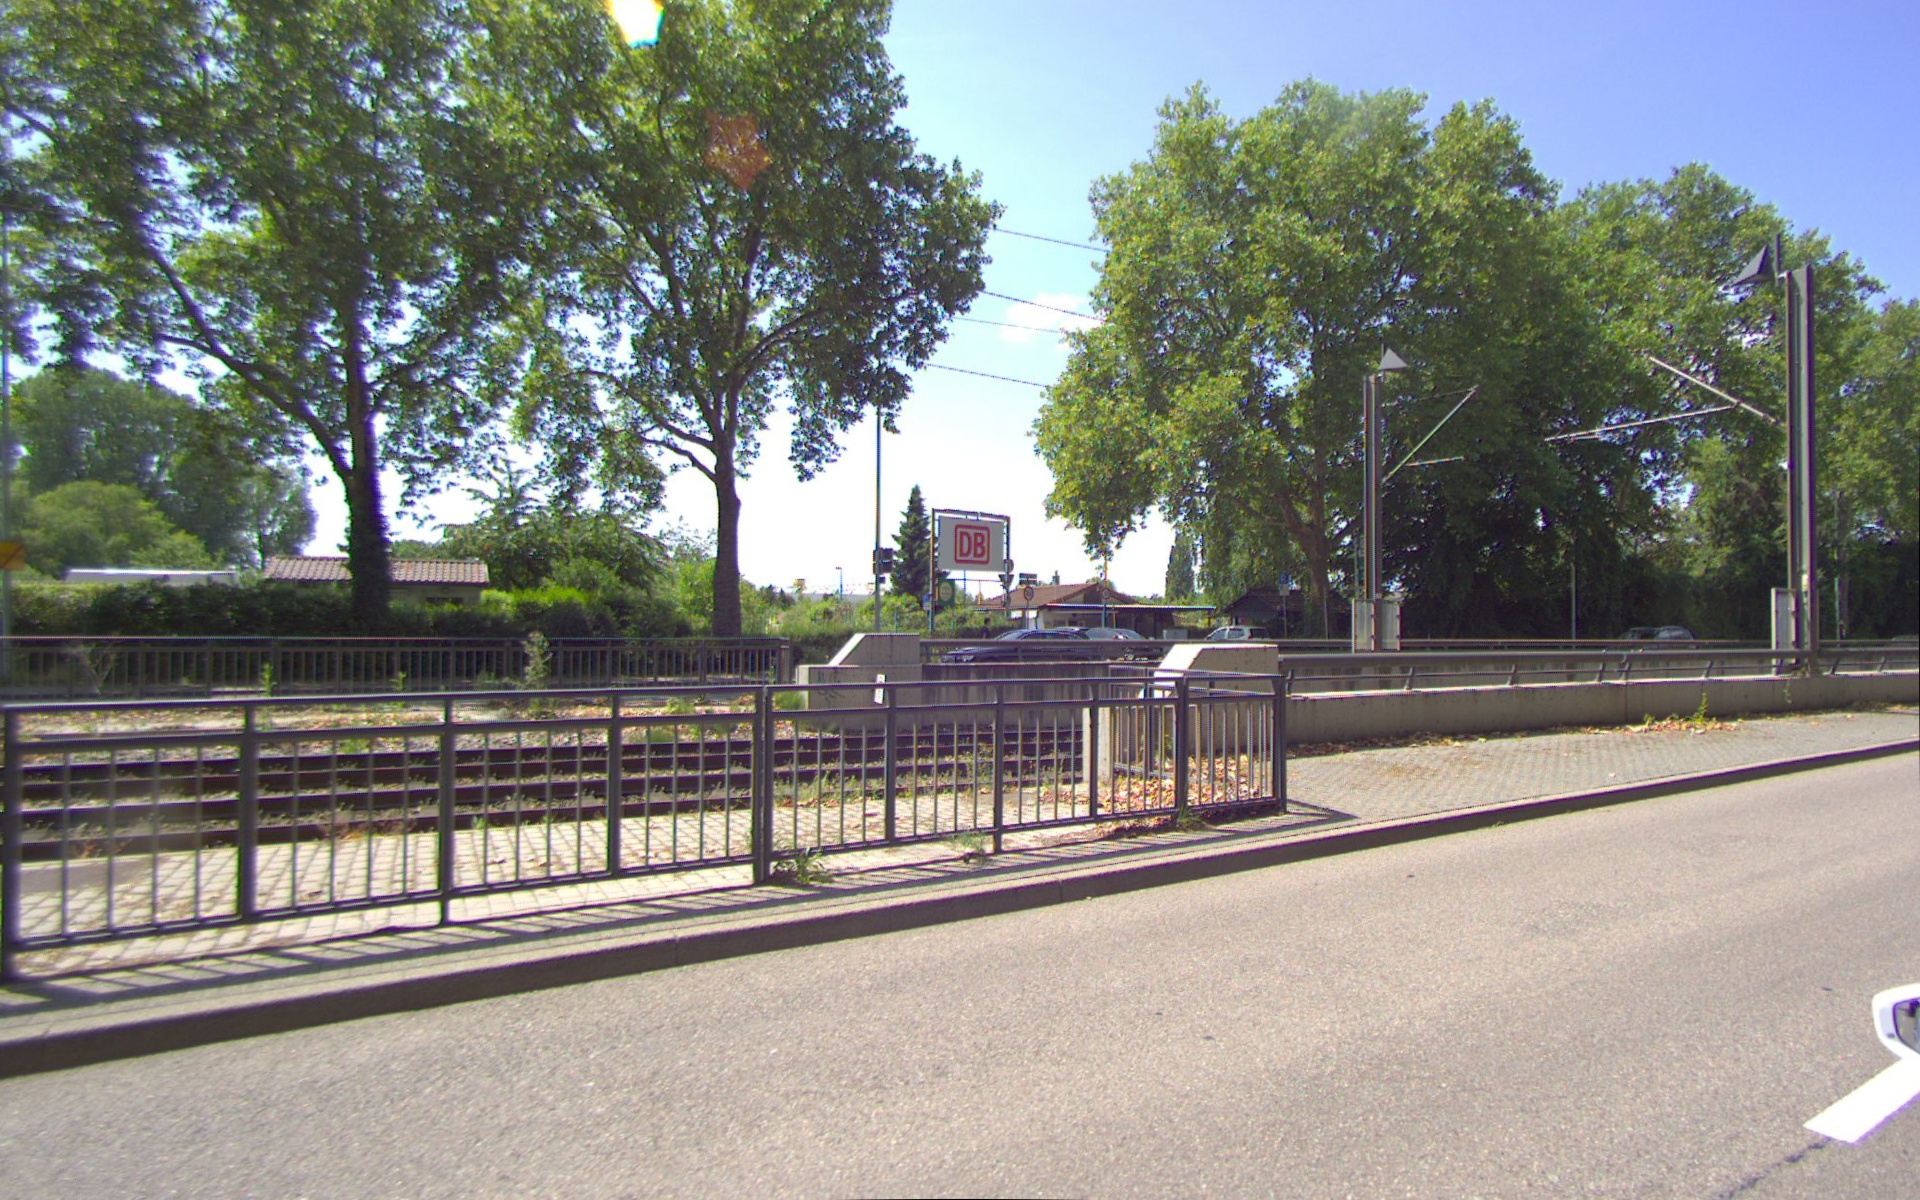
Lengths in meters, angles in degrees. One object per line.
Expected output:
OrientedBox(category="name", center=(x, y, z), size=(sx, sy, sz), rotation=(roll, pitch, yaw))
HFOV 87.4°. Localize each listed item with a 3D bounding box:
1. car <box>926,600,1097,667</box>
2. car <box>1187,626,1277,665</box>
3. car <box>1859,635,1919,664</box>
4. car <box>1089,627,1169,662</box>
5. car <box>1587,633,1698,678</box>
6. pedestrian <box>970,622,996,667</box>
OrientedBox(category="car", center=(1.411, 0.896, 27.060), size=(4.328, 1.706, 1.737), rotation=(1, -1, -27))
OrientedBox(category="car", center=(11.237, 1.850, 41.617), size=(1.641, 1.495, 3.289), rotation=(2, -1, -39))
OrientedBox(category="car", center=(49.500, 2.589, 53.106), size=(3.954, 1.483, 1.836), rotation=(1, -1, -31))
OrientedBox(category="car", center=(7.618, 1.993, 45.449), size=(1.641, 1.495, 3.289), rotation=(2, -1, -39))
OrientedBox(category="car", center=(27.548, 2.204, 40.536), size=(4.328, 1.706, 1.861), rotation=(1, -1, -27))
OrientedBox(category="pedestrian", center=(0.768, 1.474, 33.426), size=(0.641, 1.471, 0.551), rotation=(1, -1, -43))
